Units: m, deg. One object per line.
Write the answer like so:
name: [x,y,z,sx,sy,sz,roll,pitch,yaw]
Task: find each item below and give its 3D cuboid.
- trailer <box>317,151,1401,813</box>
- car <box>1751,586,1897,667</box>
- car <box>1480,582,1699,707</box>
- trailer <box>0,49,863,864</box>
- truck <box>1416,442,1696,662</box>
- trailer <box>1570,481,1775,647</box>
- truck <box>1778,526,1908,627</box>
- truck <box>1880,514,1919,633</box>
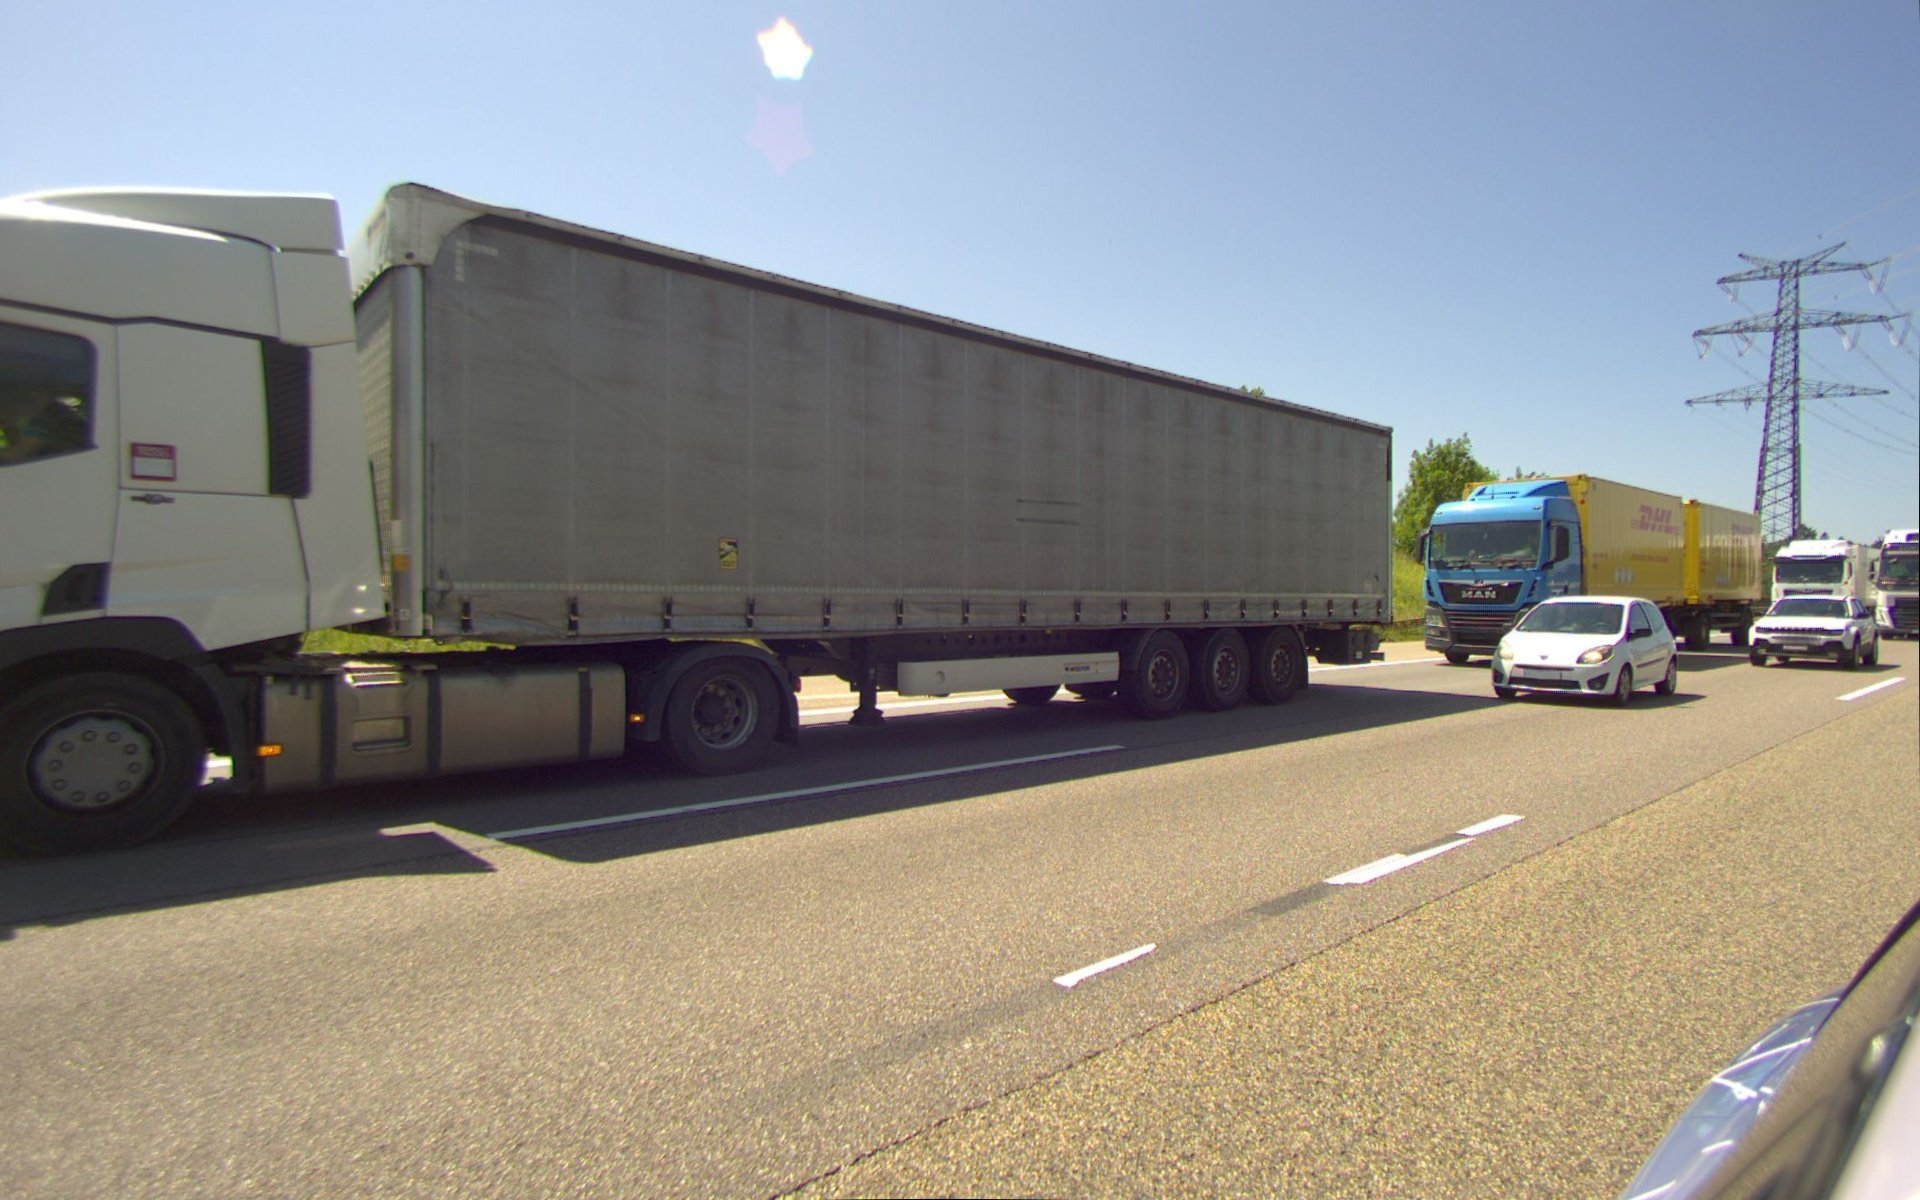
trailer: [0.623,-0.740,11.877,13.513,4.101,2.967,0,0,-42]
car: [18.671,0.501,21.820,3.783,1.549,1.775,-1,1,-39]
car: [9.262,0.540,14.789,3.759,1.529,1.659,-1,3,-41]
trailer: [-4.141,-0.726,7.638,6.299,4.095,2.929,0,0,-41]
truck: [14.095,-0.897,23.422,9.780,4.161,2.769,0,0,-42]
trailer: [20.992,-0.887,29.525,9.212,4.170,2.770,0,0,-41]
truck: [38.892,-0.955,44.393,11.098,3.980,2.694,0,0,-40]
truck: [38.593,-0.946,38.975,14.000,4.090,2.717,0,0,-40]
